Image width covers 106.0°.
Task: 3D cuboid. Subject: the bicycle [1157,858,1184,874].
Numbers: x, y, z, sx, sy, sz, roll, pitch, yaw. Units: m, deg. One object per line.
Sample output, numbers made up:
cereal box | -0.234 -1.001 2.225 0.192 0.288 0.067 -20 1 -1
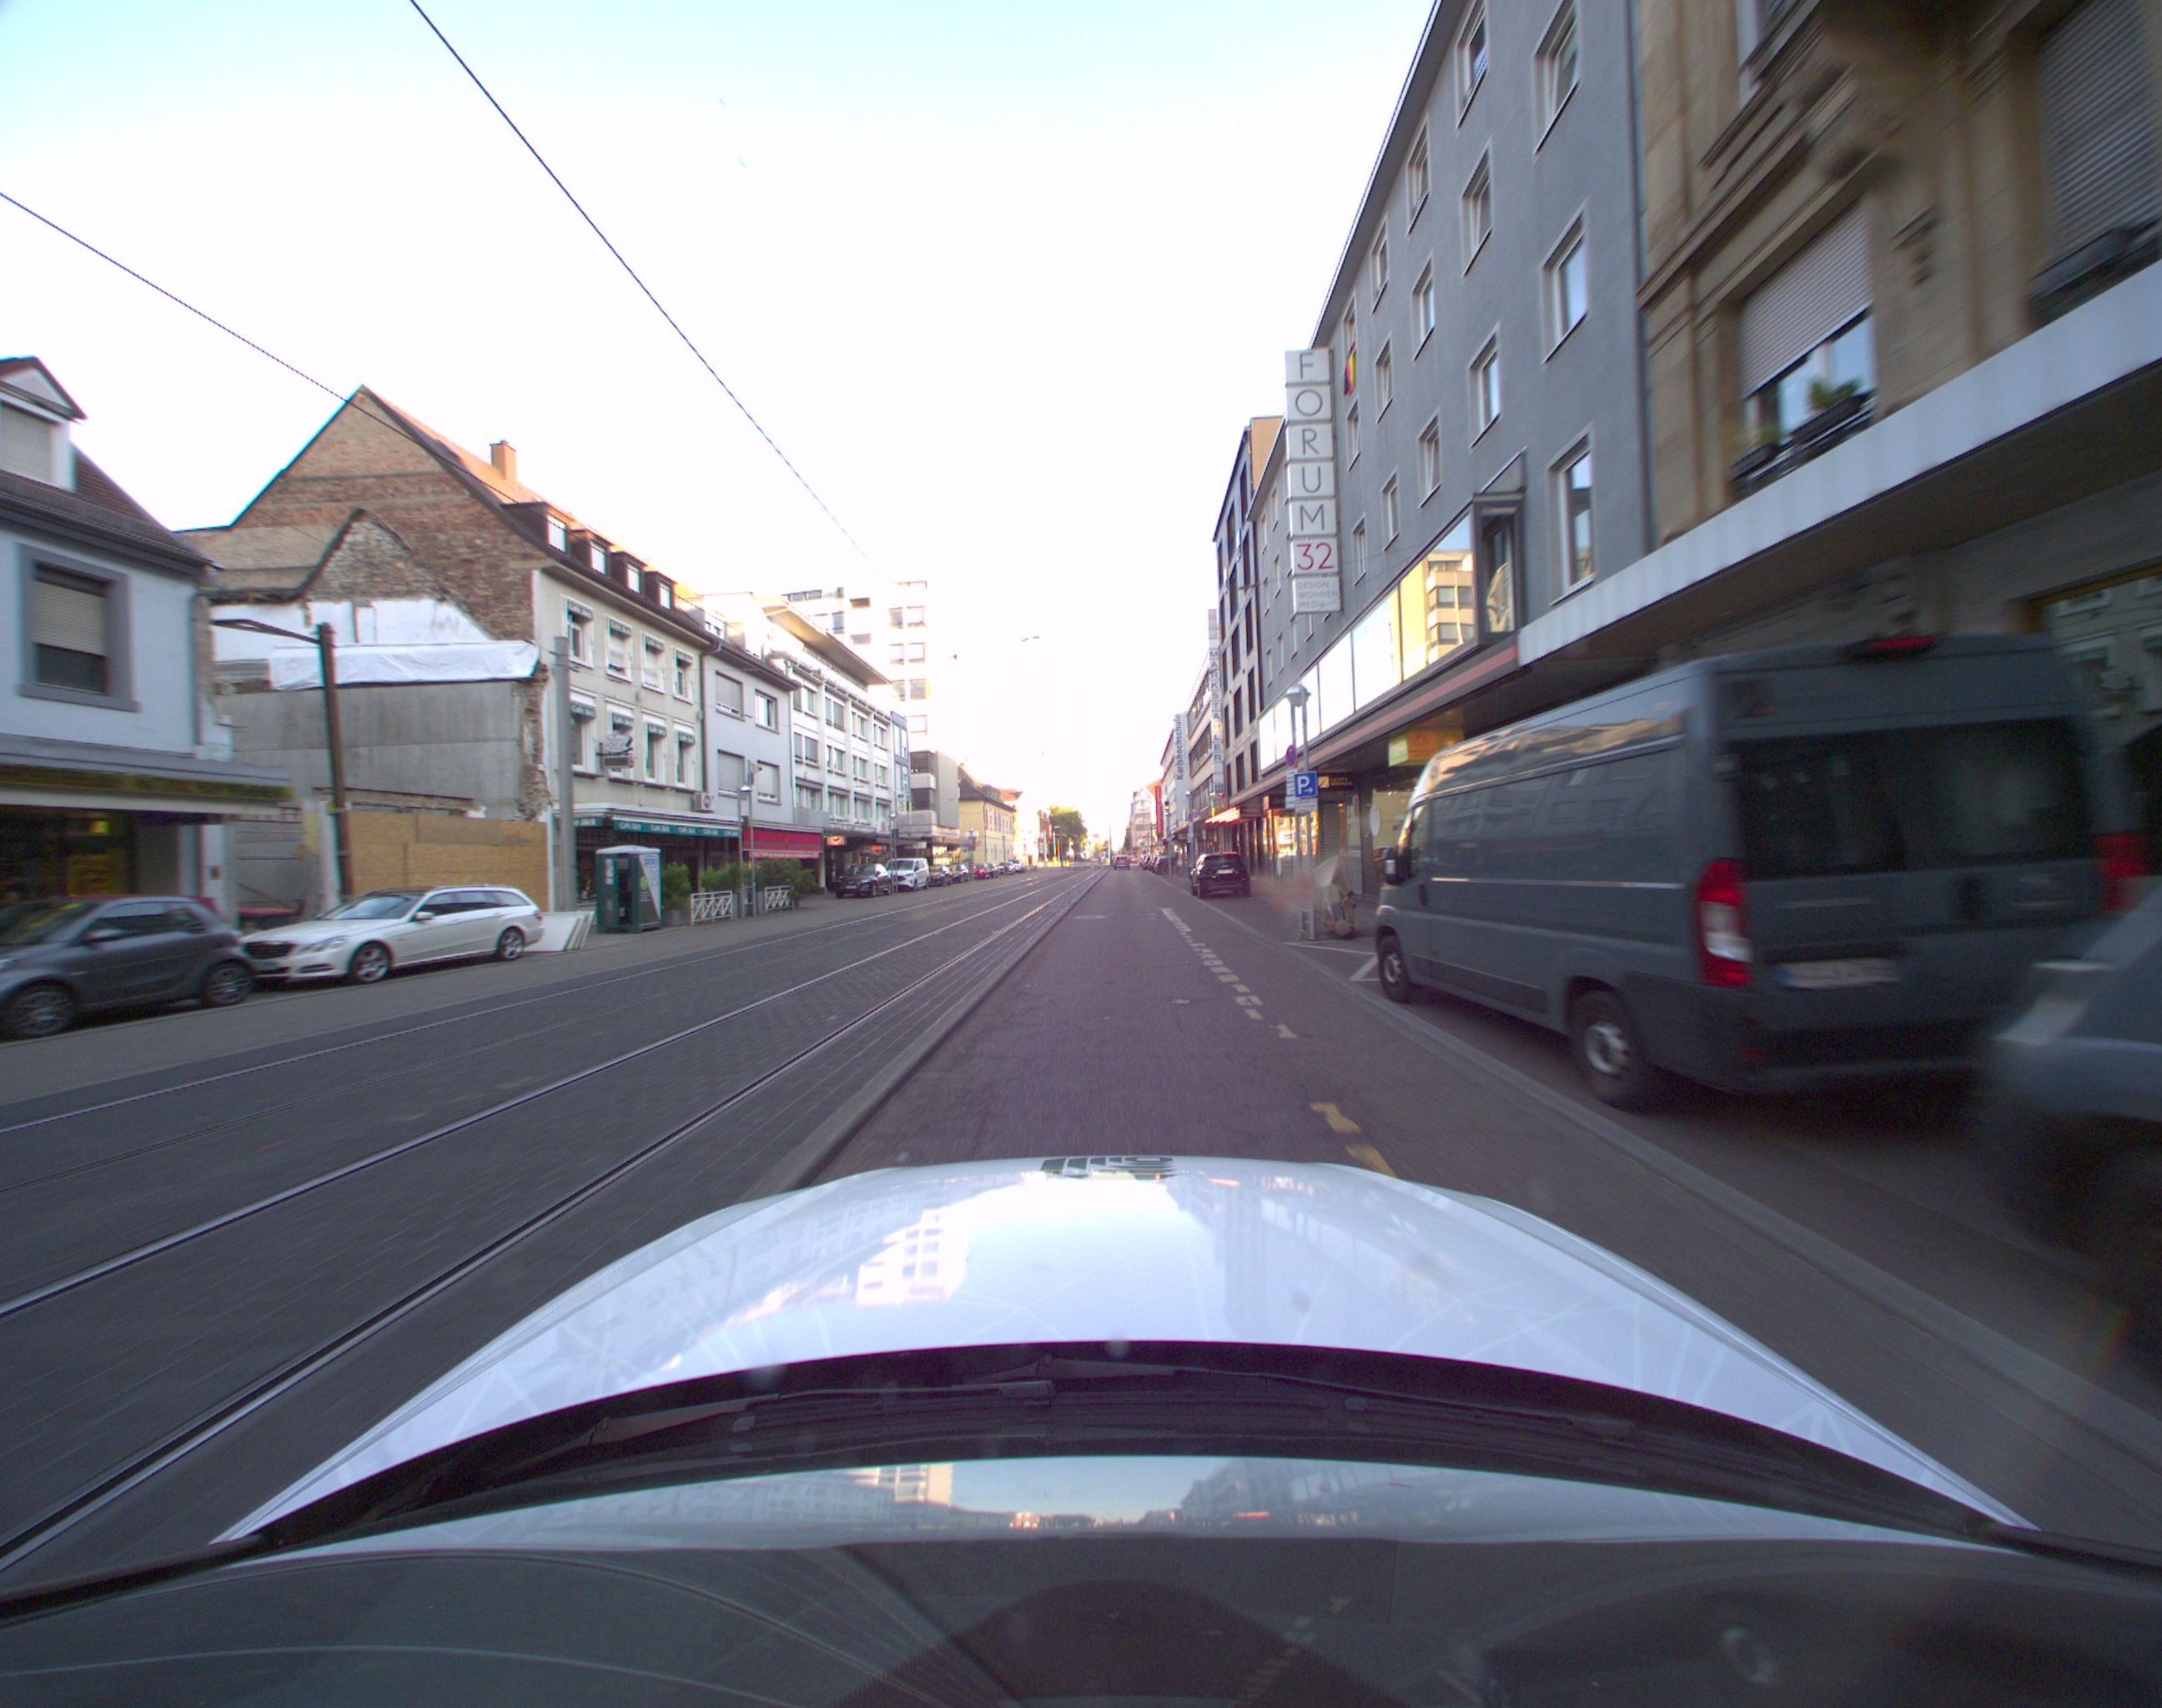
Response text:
bicycle | 6.587 0.865 59.912 1.861 1.090 0.546 -2 0 2

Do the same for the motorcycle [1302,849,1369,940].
motorcycle | 4.392 0.659 14.193 0.807 1.417 2.011 -4 0 11

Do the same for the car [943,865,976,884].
car | -9.326 1.536 62.699 1.784 1.339 3.893 0 0 2

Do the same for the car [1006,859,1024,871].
car | -7.880 1.278 97.502 1.784 1.449 3.893 0 0 2

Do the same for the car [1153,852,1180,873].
car | 7.035 0.654 67.461 1.935 1.545 4.549 -4 0 4

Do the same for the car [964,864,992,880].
car | -9.187 1.599 72.870 1.784 1.339 3.893 0 0 2

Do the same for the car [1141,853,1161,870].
car | 7.633 0.765 88.884 1.935 1.703 4.549 -4 0 4

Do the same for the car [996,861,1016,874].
car | -8.386 1.512 91.462 1.784 1.449 3.893 0 0 2

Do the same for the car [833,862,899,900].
car | -10.812 1.306 41.294 1.909 1.763 4.433 0 0 3

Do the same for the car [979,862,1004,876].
car | -8.590 1.420 78.474 1.784 1.339 3.893 0 0 2

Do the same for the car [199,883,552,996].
car | -11.987 1.341 14.439 1.841 1.504 4.846 0 0 3

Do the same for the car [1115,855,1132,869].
car | 5.050 0.890 95.905 1.935 1.545 4.549 -2 0 4

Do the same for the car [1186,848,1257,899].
car | 4.969 0.653 29.385 1.935 1.545 4.549 -4 0 4

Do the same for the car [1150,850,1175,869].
car | 7.258 0.500 73.052 1.935 1.545 4.549 -4 0 4

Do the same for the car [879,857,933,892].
car | -10.448 1.183 49.025 1.909 1.936 4.846 0 0 3

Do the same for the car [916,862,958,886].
car | -9.943 1.362 56.420 1.910 1.521 4.632 0 0 2

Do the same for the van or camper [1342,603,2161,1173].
van or camper | 4.054 0.164 6.453 2.181 2.426 5.519 -4 0 2

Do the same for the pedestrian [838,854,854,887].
pedestrian | -13.161 0.914 45.617 0.645 1.820 0.837 0 0 3

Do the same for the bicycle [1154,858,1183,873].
bicycle | 6.828 0.874 63.660 2.112 1.090 0.591 -2 0 0

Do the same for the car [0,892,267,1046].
car | -12.173 1.279 9.925 1.585 1.504 2.814 0 0 2

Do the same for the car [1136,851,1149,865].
car | 9.571 0.621 127.361 1.935 2.145 4.549 -4 0 4
